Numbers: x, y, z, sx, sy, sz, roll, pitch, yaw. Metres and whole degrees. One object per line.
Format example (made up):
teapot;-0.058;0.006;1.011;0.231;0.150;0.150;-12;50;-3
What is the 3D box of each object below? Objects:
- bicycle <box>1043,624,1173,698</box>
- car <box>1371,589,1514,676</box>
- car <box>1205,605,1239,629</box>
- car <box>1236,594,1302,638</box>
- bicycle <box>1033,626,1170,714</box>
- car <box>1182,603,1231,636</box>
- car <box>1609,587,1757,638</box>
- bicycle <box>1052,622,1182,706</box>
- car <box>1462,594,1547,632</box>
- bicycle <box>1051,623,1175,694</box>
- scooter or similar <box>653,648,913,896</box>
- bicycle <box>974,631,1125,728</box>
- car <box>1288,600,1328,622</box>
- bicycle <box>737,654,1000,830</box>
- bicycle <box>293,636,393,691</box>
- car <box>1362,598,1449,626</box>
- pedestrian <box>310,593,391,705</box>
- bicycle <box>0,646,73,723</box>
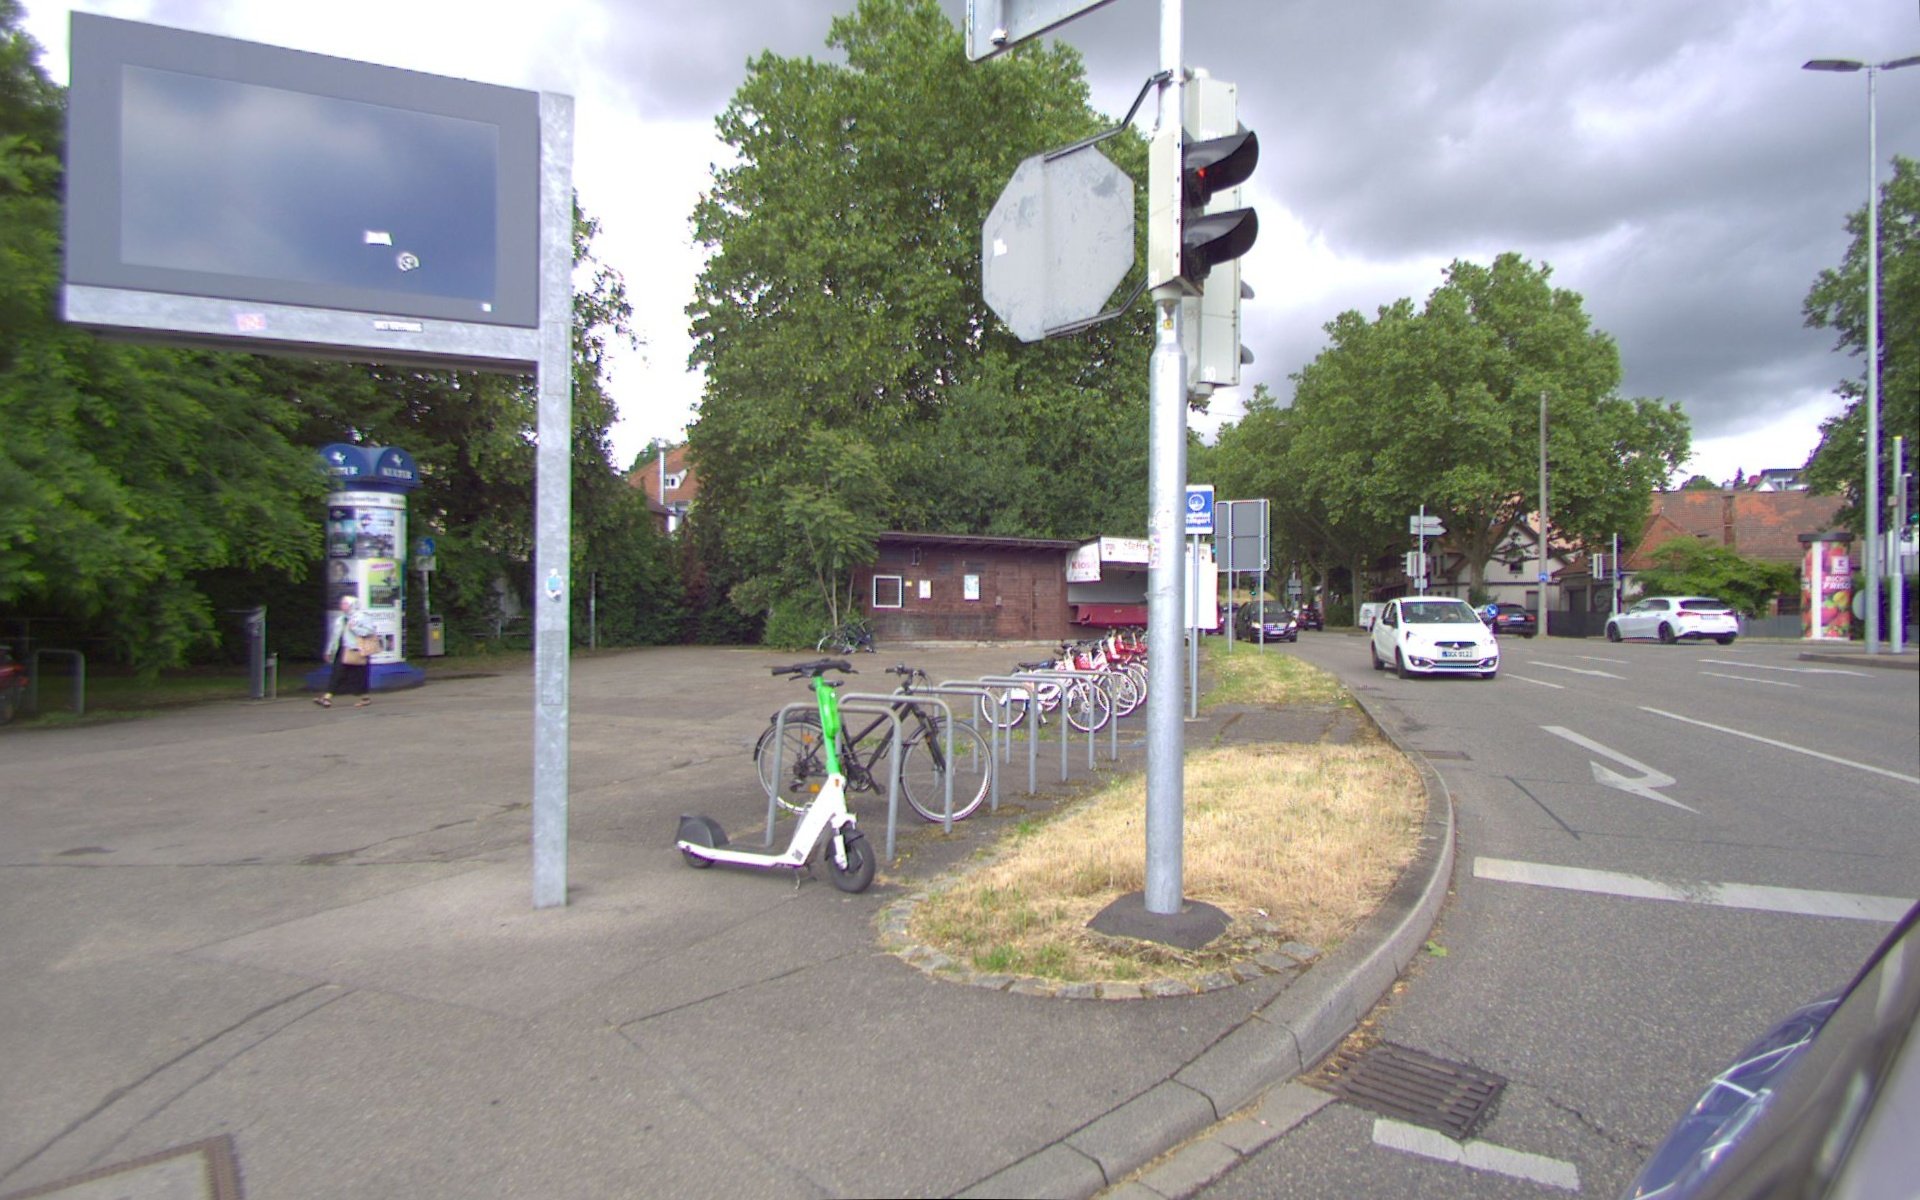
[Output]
bicycle;2.245;0.902;15.351;1.860;1.065;0.594;-1;0;21
car;9.067;0.562;19.319;1.649;1.466;3.590;-2;0;13
car;16.479;1.029;63.800;1.767;1.450;3.631;0;0;10
car;11.725;0.596;38.650;1.692;1.551;4.178;-1;-1;7
bicycle;1.931;0.937;13.793;1.788;1.130;0.579;-1;1;16
car;13.419;1.019;55.298;1.863;1.637;4.504;-1;1;4
car;21.700;0.378;30.582;1.781;1.356;4.110;-2;-1;6
bicycle;2.253;0.907;14.502;1.788;1.130;0.579;-1;1;16
car;22.163;0.500;41.353;1.702;1.466;3.992;0;0;7
bicycle;2.415;0.905;16.016;1.860;1.065;0.594;-1;0;21
scooter or similar;-0.936;0.843;5.363;1.218;1.126;0.649;0;-1;26
bicycle;1.117;0.968;12.629;1.788;1.130;0.579;-1;1;16
car;22.595;0.698;65.810;1.645;1.331;3.632;-1;0;7
bicycle;-0.614;0.916;6.864;1.677;1.058;0.605;0;-1;16
bicycle;-10.384;1.049;17.021;1.635;0.867;0.475;0;-2;18
car;28.262;0.741;64.282;4.791;1.720;1.734;0;1;-7
pedestrian;-8.598;0.667;14.296;0.661;1.533;0.752;-1;-1;13
bicycle;-11.631;1.003;12.277;1.715;0.867;0.475;0;-2;18
